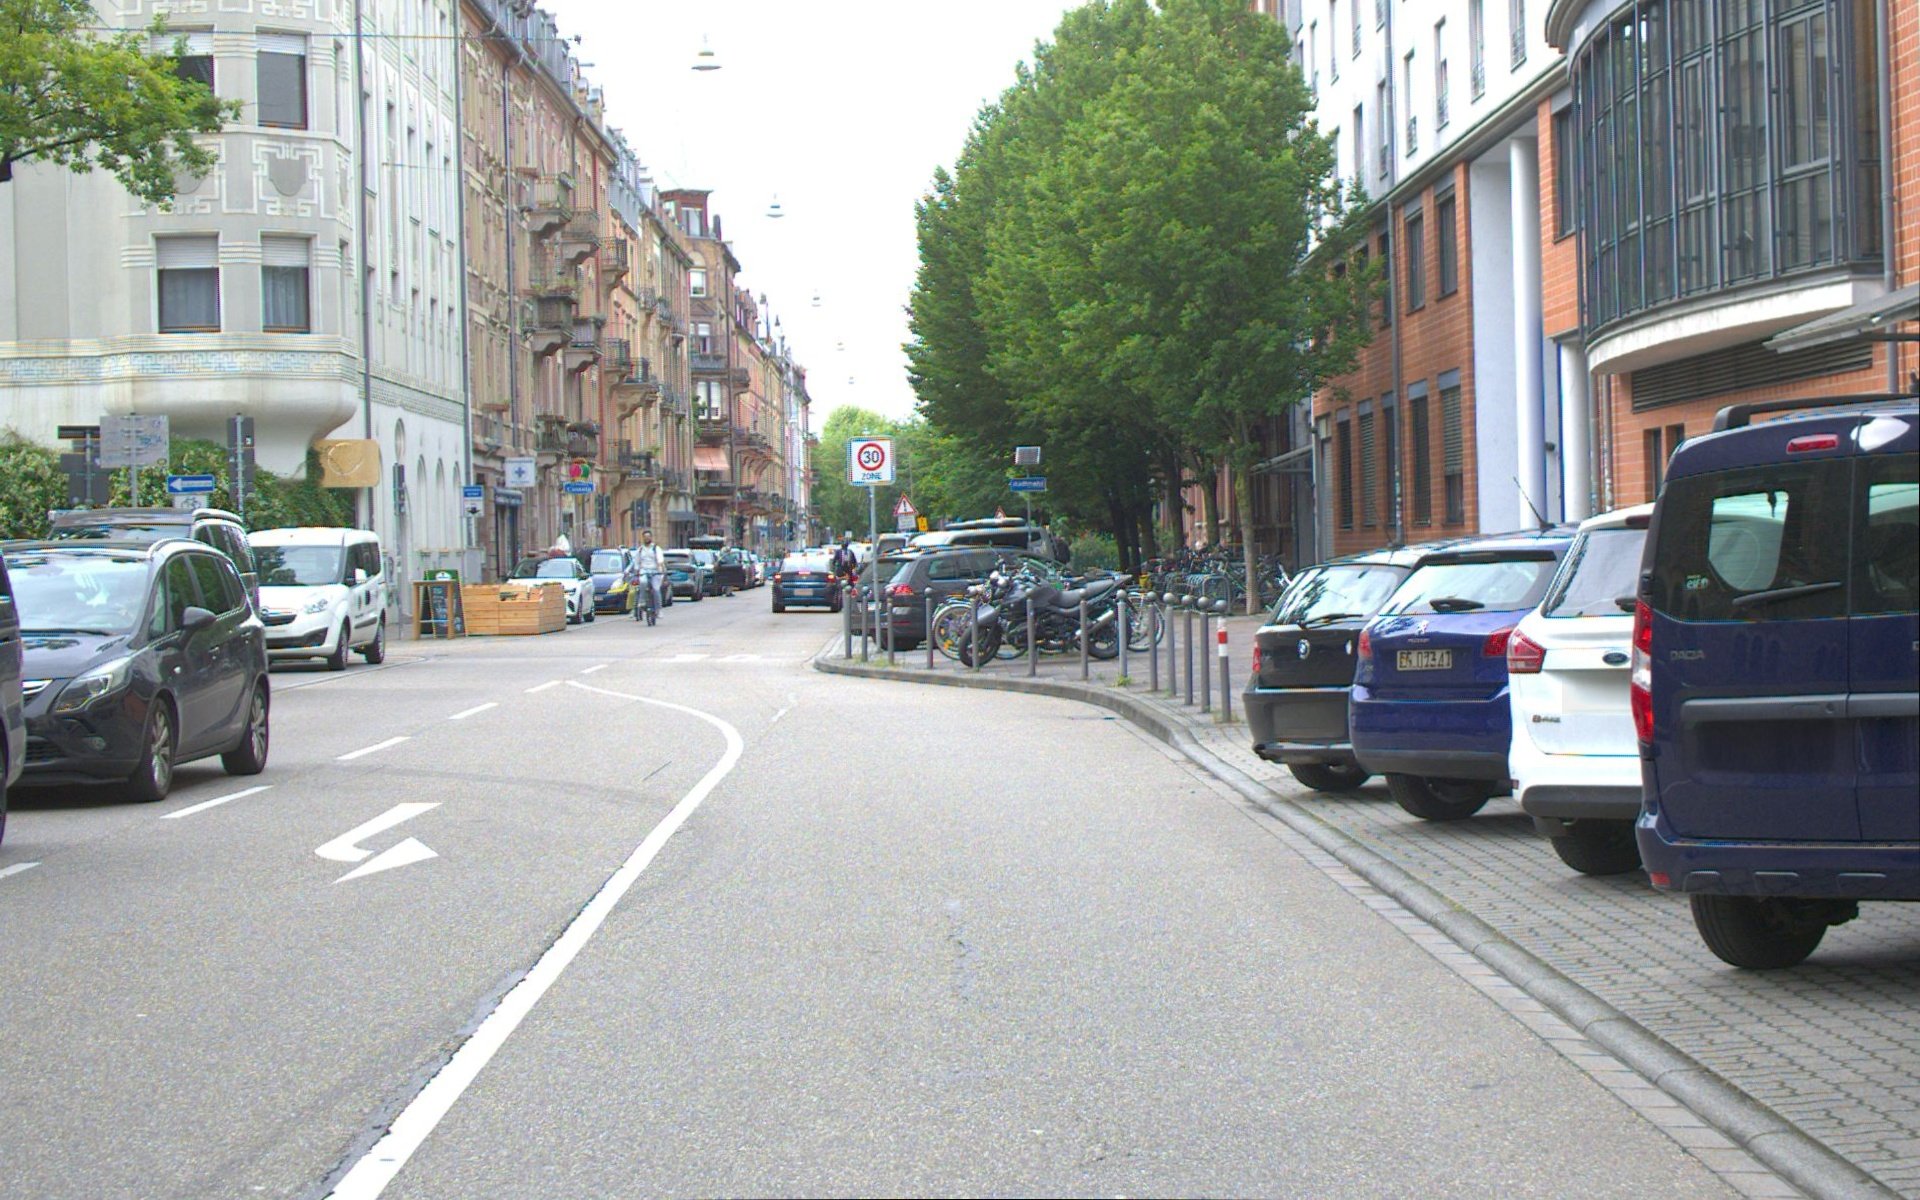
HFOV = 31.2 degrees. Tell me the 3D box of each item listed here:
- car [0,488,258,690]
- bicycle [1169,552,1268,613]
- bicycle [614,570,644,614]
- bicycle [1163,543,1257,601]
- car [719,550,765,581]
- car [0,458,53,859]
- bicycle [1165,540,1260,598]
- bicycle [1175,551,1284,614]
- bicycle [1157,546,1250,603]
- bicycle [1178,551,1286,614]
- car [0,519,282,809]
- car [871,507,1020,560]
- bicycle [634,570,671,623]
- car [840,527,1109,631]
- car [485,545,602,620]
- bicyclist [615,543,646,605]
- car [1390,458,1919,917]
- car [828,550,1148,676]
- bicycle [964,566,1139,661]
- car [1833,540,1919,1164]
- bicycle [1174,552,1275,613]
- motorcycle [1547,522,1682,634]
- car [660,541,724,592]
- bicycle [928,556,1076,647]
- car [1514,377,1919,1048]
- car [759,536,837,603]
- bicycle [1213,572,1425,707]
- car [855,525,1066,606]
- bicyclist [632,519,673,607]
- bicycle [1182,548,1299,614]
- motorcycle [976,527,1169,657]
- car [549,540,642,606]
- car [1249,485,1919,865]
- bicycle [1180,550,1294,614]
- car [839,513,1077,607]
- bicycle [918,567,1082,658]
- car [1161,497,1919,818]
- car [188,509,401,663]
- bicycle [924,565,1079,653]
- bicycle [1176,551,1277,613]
[{"bbox_3d":[-9.046,-0.154,36.947,2.013,2.007,5.183,0,1,-1],"label":"car"},{"bbox_3d":[4.697,-0.318,62.556,1.752,1.088,0.565,0,-1,-1],"label":"bicycle"},{"bbox_3d":[-7.494,-0.173,77.864,0.535,0.974,1.865,0,0,-1],"label":"bicycle"},{"bbox_3d":[4.801,-0.534,66.122,1.752,1.088,0.565,0,-1,-1],"label":"bicycle"},{"bbox_3d":[-9.669,-1.529,152.433,1.993,1.317,4.000,0,0,-4],"label":"car"},{"bbox_3d":[-5.610,0.320,15.005,1.912,1.948,5.284,0,1,0],"label":"car"},{"bbox_3d":[4.807,-0.594,65.413,1.752,1.088,0.565,0,-1,-1],"label":"bicycle"},{"bbox_3d":[4.675,-0.299,59.742,1.836,1.088,0.543,0,-1,-1],"label":"bicycle"},{"bbox_3d":[4.731,-0.500,66.924,1.752,1.088,0.565,0,-1,-1],"label":"bicycle"},{"bbox_3d":[4.782,-0.304,60.538,1.836,1.088,0.565,0,-1,-1],"label":"bicycle"},{"bbox_3d":[-5.750,0.333,22.214,1.845,1.678,4.548,0,1,0],"label":"car"},{"bbox_3d":[-0.532,-2.558,131.505,5.386,1.861,1.950,-2,0,-30],"label":"car"},{"bbox_3d":[-6.495,-0.085,72.749,0.567,1.084,1.987,0,1,1],"label":"bicycle"},{"bbox_3d":[0.249,-0.349,57.468,4.047,1.579,1.903,-2,0,-31],"label":"car"},{"bbox_3d":[-9.053,-0.387,74.992,1.944,1.548,3.817,-2,0,2],"label":"car"},{"bbox_3d":[-7.466,-0.581,77.856,0.668,1.394,0.783,0,-1,-3],"label":"bicyclist"},{"bbox_3d":[3.876,0.238,14.600,3.989,1.596,1.765,-5,3,-40],"label":"car"},{"bbox_3d":[0.425,0.179,49.912,4.274,1.573,1.863,-4,1,-34],"label":"car"},{"bbox_3d":[1.091,0.162,41.119,2.009,1.059,0.612,-2,0,-3],"label":"bicycle"},{"bbox_3d":[4.325,0.416,8.622,4.060,1.448,2.031,-6,2,-39],"label":"car"},{"bbox_3d":[4.762,-0.314,61.951,1.752,1.088,0.565,0,-1,-1],"label":"bicycle"},{"bbox_3d":[7.375,-0.265,38.866,1.028,1.198,2.209,-2,1,-1],"label":"motorcycle"},{"bbox_3d":[-9.334,-1.159,119.893,1.944,1.736,3.943,0,0,-1],"label":"car"},{"bbox_3d":[0.554,0.024,45.627,1.883,1.137,0.612,-2,0,-3],"label":"bicycle"},{"bbox_3d":[3.992,0.184,11.465,4.271,1.900,1.879,-5,3,-42],"label":"car"},{"bbox_3d":[-4.231,-0.785,90.240,1.993,1.675,4.000,0,0,-2],"label":"car"},{"bbox_3d":[3.066,0.341,29.475,0.728,1.100,1.736,-3,1,-42],"label":"bicycle"},{"bbox_3d":[0.035,-0.922,91.594,5.387,1.985,1.950,-2,0,-34],"label":"car"},{"bbox_3d":[-6.525,-0.787,72.917,0.782,1.860,0.714,0,1,1],"label":"bicyclist"},{"bbox_3d":[4.757,-0.319,58.328,1.933,1.088,0.577,0,-1,-1],"label":"bicycle"},{"bbox_3d":[1.299,-0.090,39.995,2.133,1.425,0.771,-2,0,-3],"label":"motorcycle"},{"bbox_3d":[-9.132,-0.680,86.331,1.944,1.611,3.943,0,0,-1],"label":"car"},{"bbox_3d":[3.693,0.284,17.311,3.987,1.528,1.932,-5,3,-30],"label":"car"},{"bbox_3d":[4.743,-0.310,58.934,1.895,1.088,0.543,0,-1,-1],"label":"bicycle"},{"bbox_3d":[-0.013,-0.993,83.547,5.608,2.120,1.950,-2,0,-34],"label":"car"},{"bbox_3d":[0.477,0.150,41.900,1.929,1.040,0.612,-2,0,-3],"label":"bicycle"},{"bbox_3d":[3.483,0.272,20.072,4.246,1.473,1.685,-4,2,-25],"label":"car"},{"bbox_3d":[-8.755,-0.215,45.582,1.843,1.933,4.548,0,1,1],"label":"car"},{"bbox_3d":[0.521,0.113,43.518,1.883,1.040,0.612,-2,0,-3],"label":"bicycle"},{"bbox_3d":[4.739,-0.313,61.168,1.752,1.088,0.565,0,-1,-1],"label":"bicycle"}]
